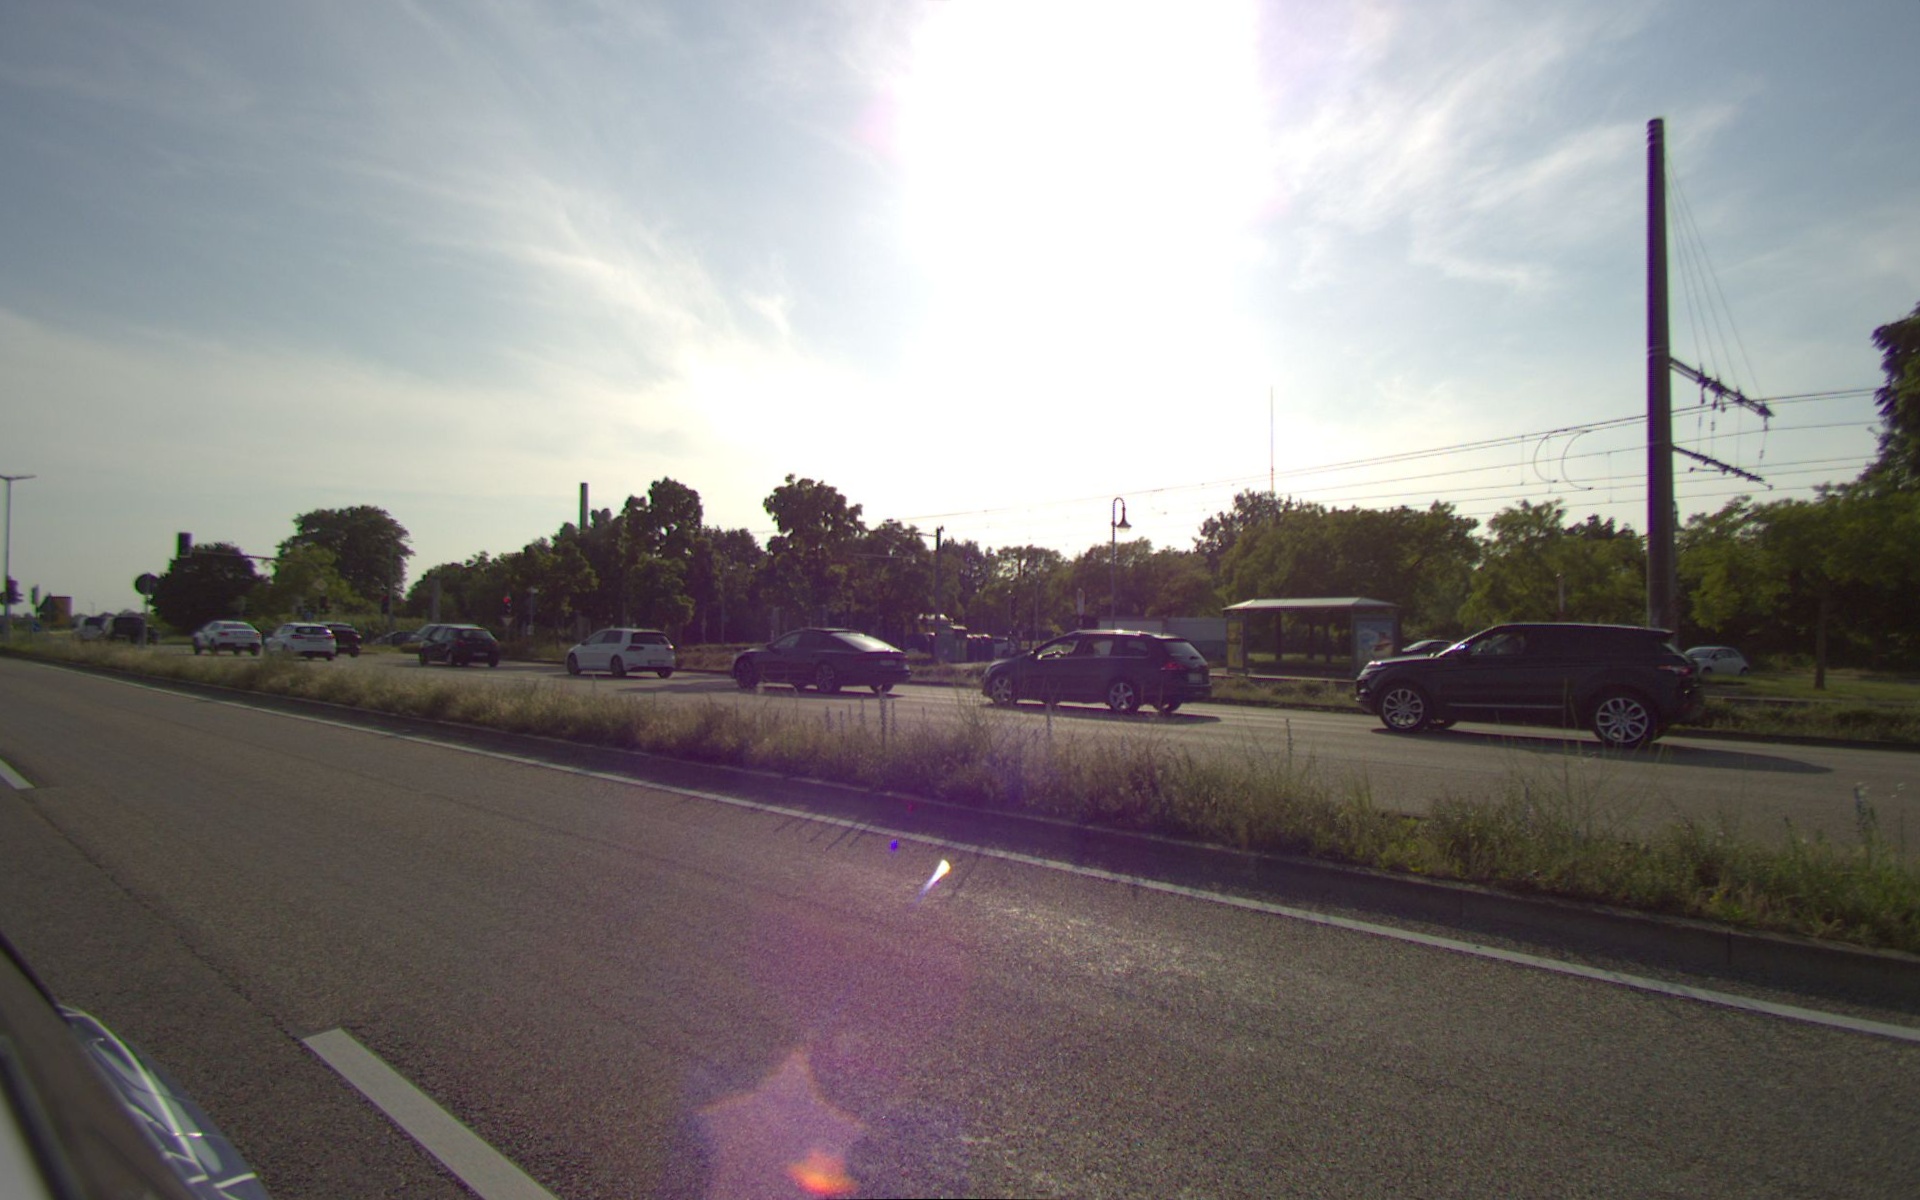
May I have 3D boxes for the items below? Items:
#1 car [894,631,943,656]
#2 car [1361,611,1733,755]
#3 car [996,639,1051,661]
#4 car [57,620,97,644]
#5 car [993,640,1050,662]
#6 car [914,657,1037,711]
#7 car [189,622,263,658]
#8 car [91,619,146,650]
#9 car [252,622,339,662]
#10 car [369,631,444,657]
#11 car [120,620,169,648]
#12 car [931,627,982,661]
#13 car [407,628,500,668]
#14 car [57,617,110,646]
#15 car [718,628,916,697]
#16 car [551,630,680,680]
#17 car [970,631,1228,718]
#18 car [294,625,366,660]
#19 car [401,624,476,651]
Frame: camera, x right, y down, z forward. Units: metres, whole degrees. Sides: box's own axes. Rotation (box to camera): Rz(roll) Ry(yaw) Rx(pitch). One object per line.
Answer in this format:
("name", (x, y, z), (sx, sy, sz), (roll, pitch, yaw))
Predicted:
("car", (-2.642, 2.788, 65.264), (1.820, 1.431, 3.974), (-1, 0, 20))
("car", (7.996, 1.064, 14.047), (4.227, 1.700, 1.643), (-1, -4, 41))
("car", (4.912, 3.824, 77.705), (3.959, 1.549, 1.992), (-1, 0, 12))
("car", (-78.814, 2.866, 90.327), (5.077, 1.988, 1.972), (-1, -4, 42))
("car", (4.566, 3.751, 74.573), (3.959, 1.549, 1.992), (-1, 0, 12))
("car", (0.571, 2.949, 36.040), (3.934, 1.564, 2.005), (-1, 0, -36))
("car", (-33.333, 1.792, 45.898), (4.582, 1.519, 1.733), (-1, -4, 42))
("car", (-50.298, 2.075, 60.462), (4.527, 1.759, 1.838), (-1, -4, 42))
("car", (-26.593, 1.671, 40.449), (4.293, 1.481, 1.799), (-1, -4, 42))
("car", (-44.417, 3.521, 81.265), (2.250, 1.901, 4.787), (-1, 0, 36))
("car", (-61.344, 2.542, 76.089), (5.077, 1.988, 1.972), (-1, -4, 42))
("car", (-0.184, 2.665, 61.360), (1.822, 1.892, 3.647), (-1, 0, 23))
("car", (-18.636, 1.751, 37.197), (3.998, 1.391, 1.643), (-1, -4, 41))
("car", (-59.056, 2.116, 68.129), (5.077, 1.843, 1.972), (-1, -4, 42))
("car", (-3.388, 1.390, 23.310), (4.973, 1.426, 1.643), (-1, -4, 41))
("car", (-10.442, 1.627, 30.494), (4.466, 1.391, 1.643), (-1, -4, 41))
("car", (2.437, 1.301, 18.553), (4.539, 1.391, 1.643), (-1, -4, 41))
("car", (-29.896, 2.009, 48.015), (3.998, 1.602, 1.778), (-1, -4, 41))
("car", (-41.039, 2.942, 79.770), (2.250, 1.901, 4.787), (-1, 0, 36))
